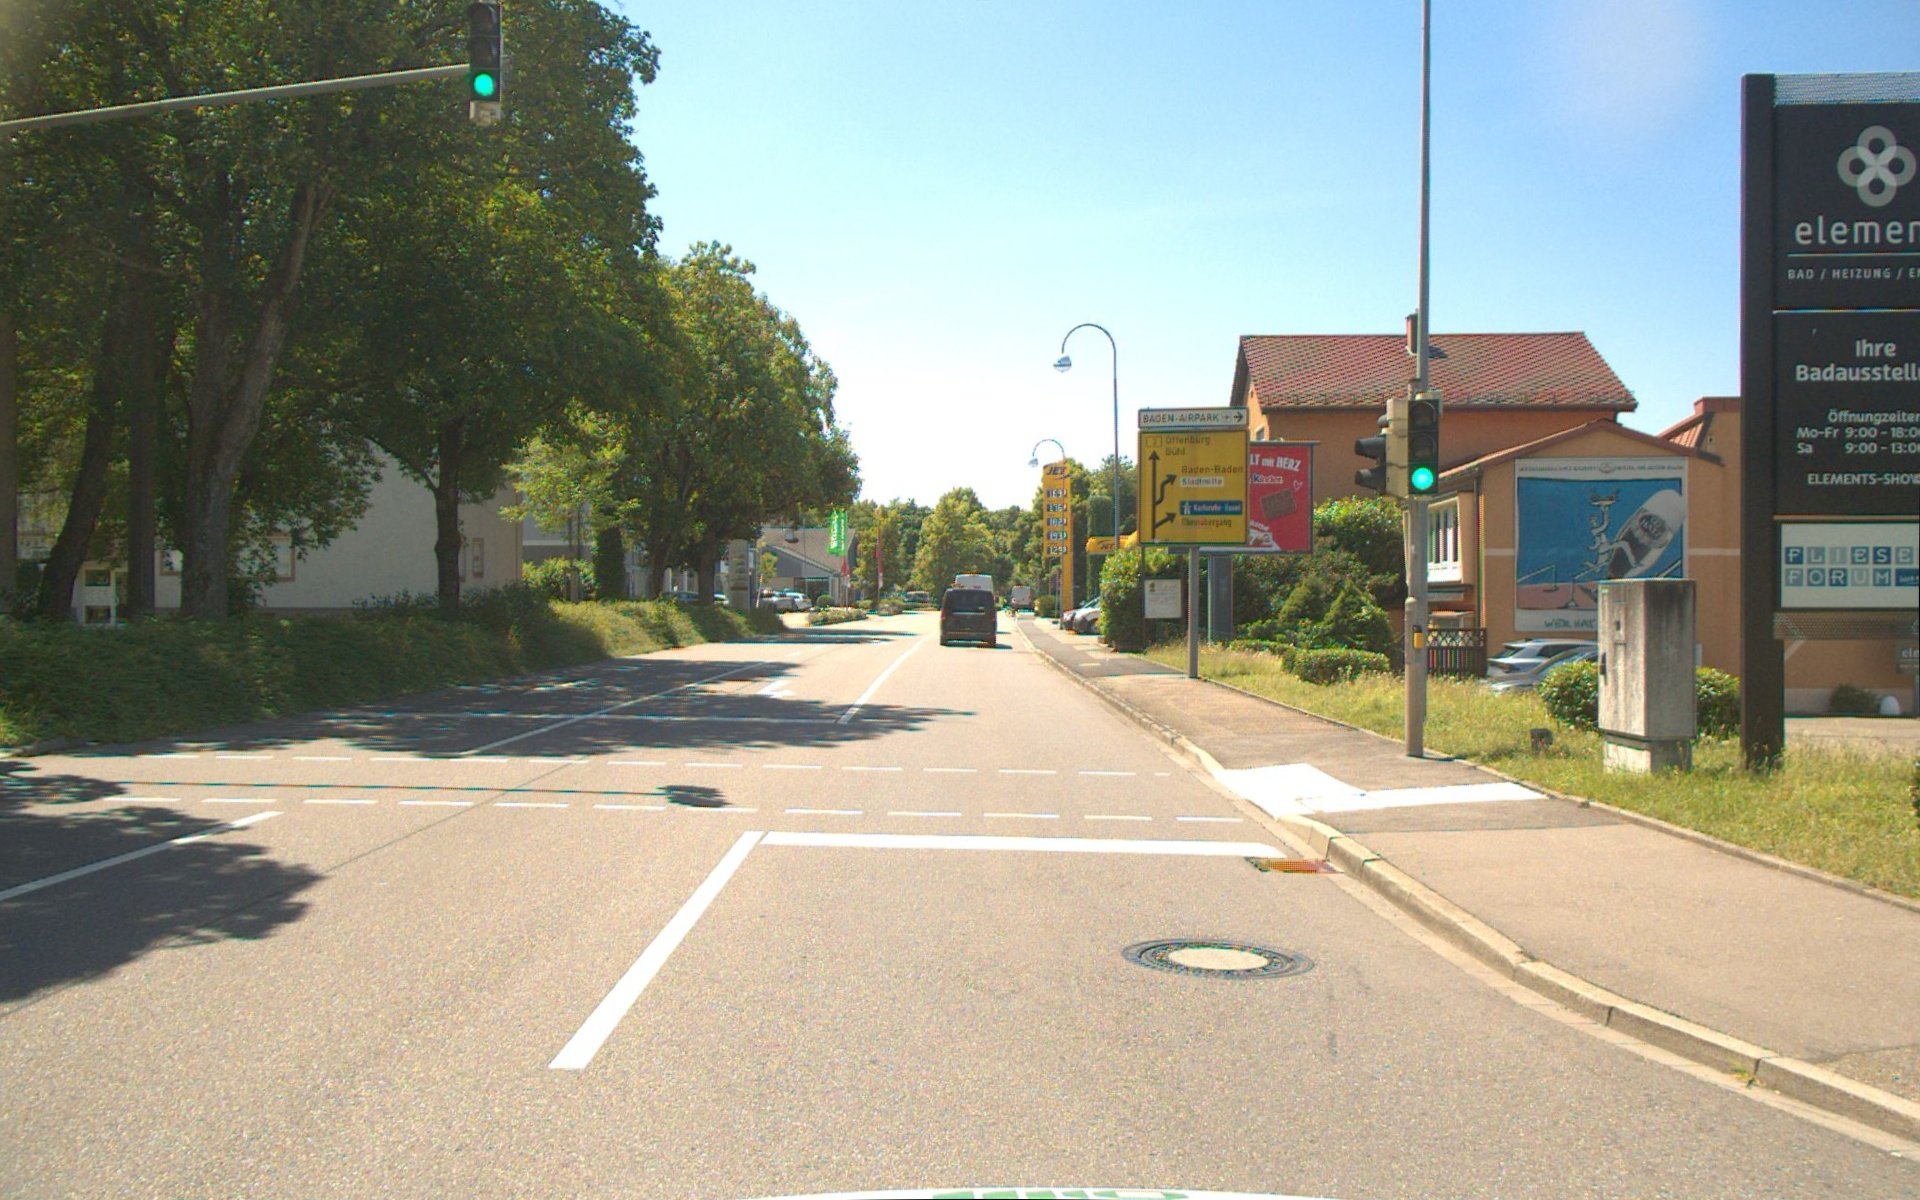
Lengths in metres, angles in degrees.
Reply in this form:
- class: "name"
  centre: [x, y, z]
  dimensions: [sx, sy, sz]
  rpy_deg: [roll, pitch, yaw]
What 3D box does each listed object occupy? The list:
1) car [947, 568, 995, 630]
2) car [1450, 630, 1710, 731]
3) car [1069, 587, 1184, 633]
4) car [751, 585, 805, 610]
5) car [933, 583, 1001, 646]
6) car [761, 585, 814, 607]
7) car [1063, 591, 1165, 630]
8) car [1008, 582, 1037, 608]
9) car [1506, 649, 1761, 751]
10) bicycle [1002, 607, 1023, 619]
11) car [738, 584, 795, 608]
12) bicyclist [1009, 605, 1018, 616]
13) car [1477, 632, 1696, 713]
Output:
- class: "car"
  centre: [0.503, -0.112, 76.819]
  dimensions: [2.076, 2.724, 5.662]
  rpy_deg: [1, 1, 0]
- class: "car"
  centre: [11.628, 1.481, 31.214]
  dimensions: [4.183, 1.675, 1.890]
  rpy_deg: [1, 1, 2]
- class: "car"
  centre: [6.871, 0.388, 68.618]
  dimensions: [4.467, 1.747, 1.999]
  rpy_deg: [-1, 1, -4]
- class: "car"
  centre: [-14.626, -0.227, 132.928]
  dimensions: [3.902, 1.864, 1.948]
  rpy_deg: [2, 1, 12]
- class: "car"
  centre: [0.202, 0.447, 54.699]
  dimensions: [1.954, 1.926, 3.998]
  rpy_deg: [1, 1, -3]
- class: "car"
  centre: [-14.215, -0.304, 136.289]
  dimensions: [3.902, 1.691, 2.002]
  rpy_deg: [2, 1, 10]
- class: "car"
  centre: [6.566, 0.435, 70.735]
  dimensions: [4.075, 1.482, 1.906]
  rpy_deg: [-1, 1, -5]
- class: "car"
  centre: [6.618, -0.560, 174.520]
  dimensions: [2.302, 2.591, 4.960]
  rpy_deg: [1, 1, 10]
- class: "car"
  centre: [11.085, 1.626, 27.423]
  dimensions: [3.545, 1.441, 1.699]
  rpy_deg: [1, 1, 5]
- class: "bicycle"
  centre: [4.179, 1.023, 131.993]
  dimensions: [1.697, 0.902, 0.552]
  rpy_deg: [-1, 3, -30]
- class: "car"
  centre: [-15.021, -0.334, 128.448]
  dimensions: [3.957, 1.735, 1.904]
  rpy_deg: [2, 1, 17]
- class: "bicyclist"
  centre: [4.253, 0.823, 132.030]
  dimensions: [0.463, 0.868, 0.552]
  rpy_deg: [-1, 3, -29]
- class: "car"
  centre: [13.725, 1.575, 36.435]
  dimensions: [4.169, 1.627, 1.891]
  rpy_deg: [0, 1, 7]
